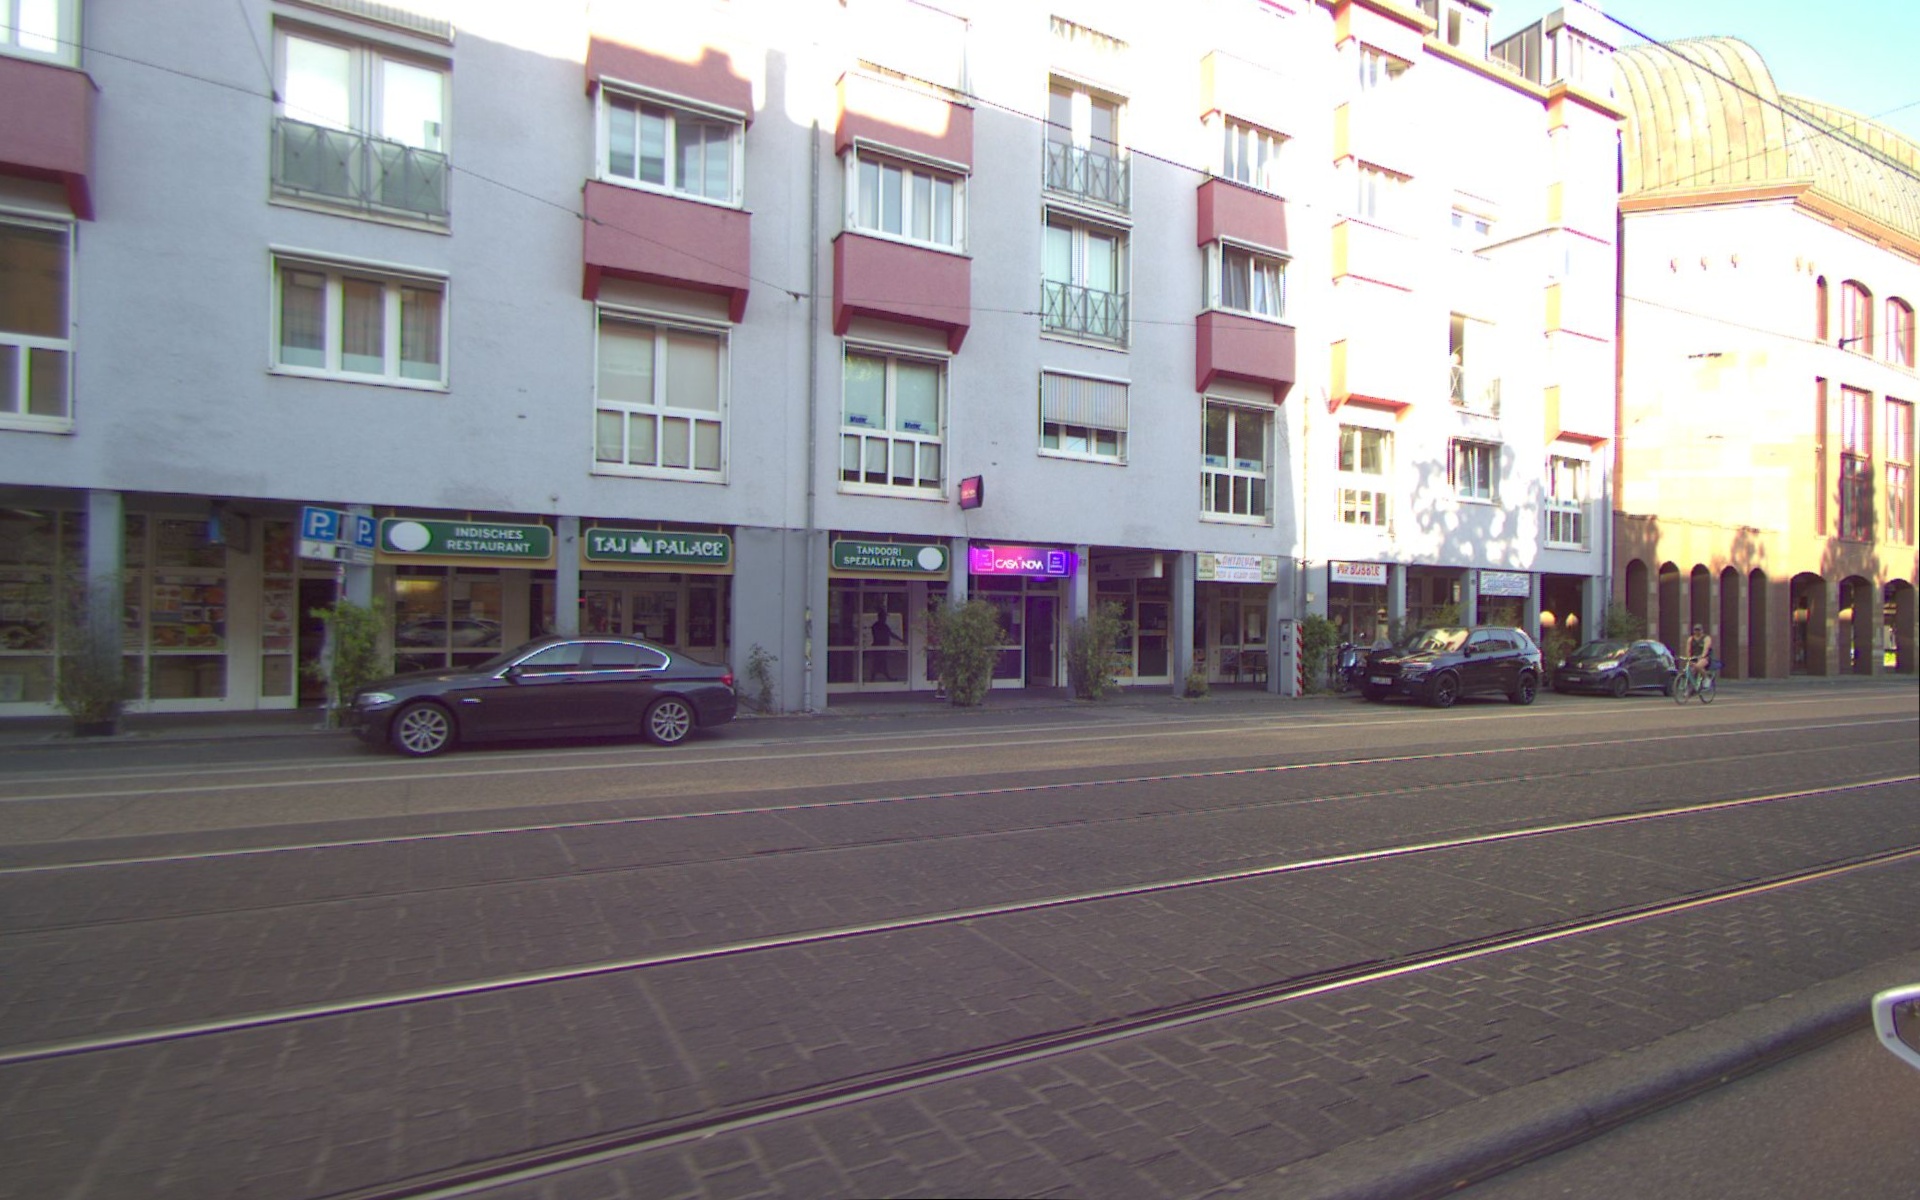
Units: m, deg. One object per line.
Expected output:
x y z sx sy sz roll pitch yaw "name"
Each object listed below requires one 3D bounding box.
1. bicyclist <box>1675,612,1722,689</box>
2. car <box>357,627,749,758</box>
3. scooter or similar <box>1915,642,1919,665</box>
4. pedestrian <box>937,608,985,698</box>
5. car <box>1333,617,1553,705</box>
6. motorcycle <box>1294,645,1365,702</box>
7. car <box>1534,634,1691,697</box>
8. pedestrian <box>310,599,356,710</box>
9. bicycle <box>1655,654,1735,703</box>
17.056 1.166 23.196 0.736 1.734 0.569 1 -3 -28 "bicyclist"
-5.409 1.140 13.579 4.653 1.458 1.860 1 0 -31 "car"
40.023 2.235 41.794 0.358 0.951 0.967 3 2 41 "scooter or similar"
0.025 1.030 19.901 0.737 1.734 0.611 1 -1 -30 "pedestrian"
10.873 1.348 22.547 4.762 1.735 2.081 2 0 -29 "car"
8.475 1.654 22.989 0.663 1.221 2.127 2 0 45 "motorcycle"
17.026 1.682 26.209 3.536 1.470 1.863 2 0 -26 "car"
-10.122 0.868 16.231 0.609 1.734 0.739 1 -1 -32 "pedestrian"
16.902 1.787 23.089 2.158 1.091 0.580 1 -3 -28 "bicycle"
